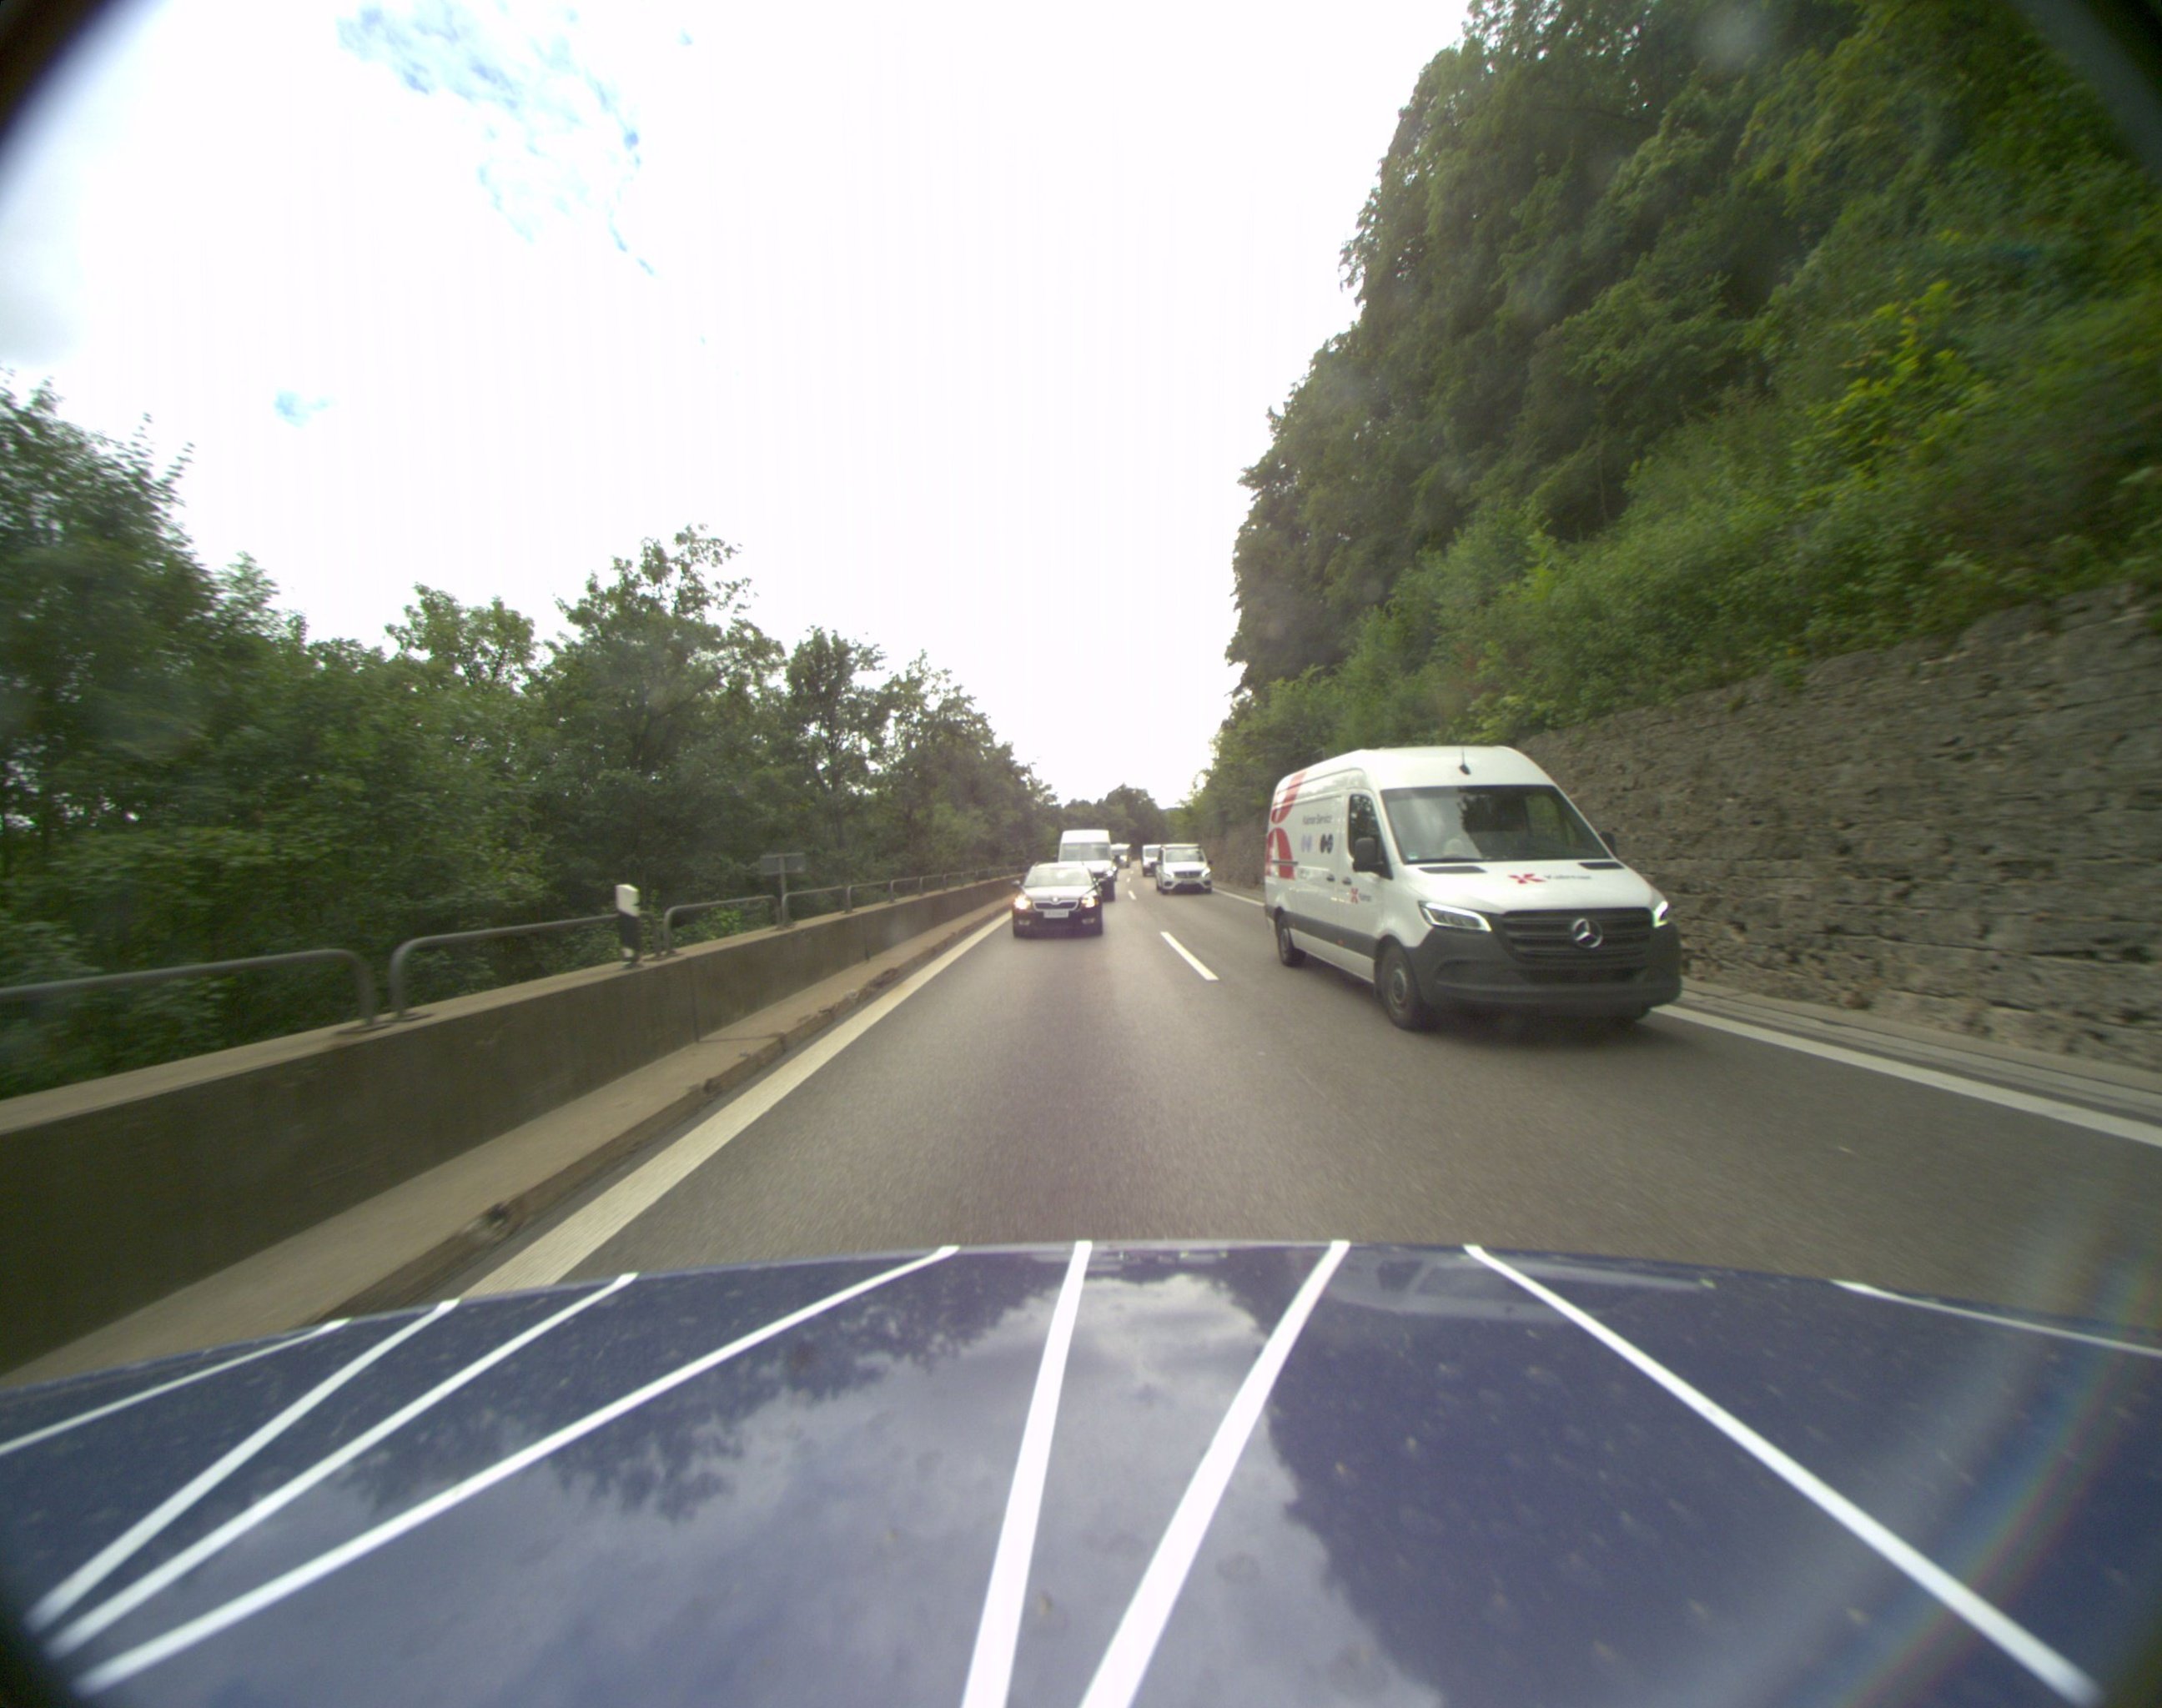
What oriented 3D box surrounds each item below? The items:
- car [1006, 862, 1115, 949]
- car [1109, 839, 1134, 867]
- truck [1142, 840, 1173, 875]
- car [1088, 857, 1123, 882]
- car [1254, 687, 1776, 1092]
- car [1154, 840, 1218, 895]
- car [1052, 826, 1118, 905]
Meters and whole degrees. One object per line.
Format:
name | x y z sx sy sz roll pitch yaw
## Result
car | -0.468 0.976 16.761 1.913 1.391 5.695 -4 0 -2
car | 4.636 -0.130 85.939 2.275 2.941 7.188 -2 1 6
truck | 5.573 0.202 54.744 1.997 2.266 6.588 -3 0 7
car | 1.567 0.921 46.816 1.846 1.408 4.001 -2 0 5
car | 3.542 0.203 8.074 2.031 2.570 6.274 -2 1 1
car | 4.204 0.494 31.477 1.998 1.941 6.148 -3 0 3
car | 0.283 0.342 28.067 1.998 2.550 5.919 -2 1 4
